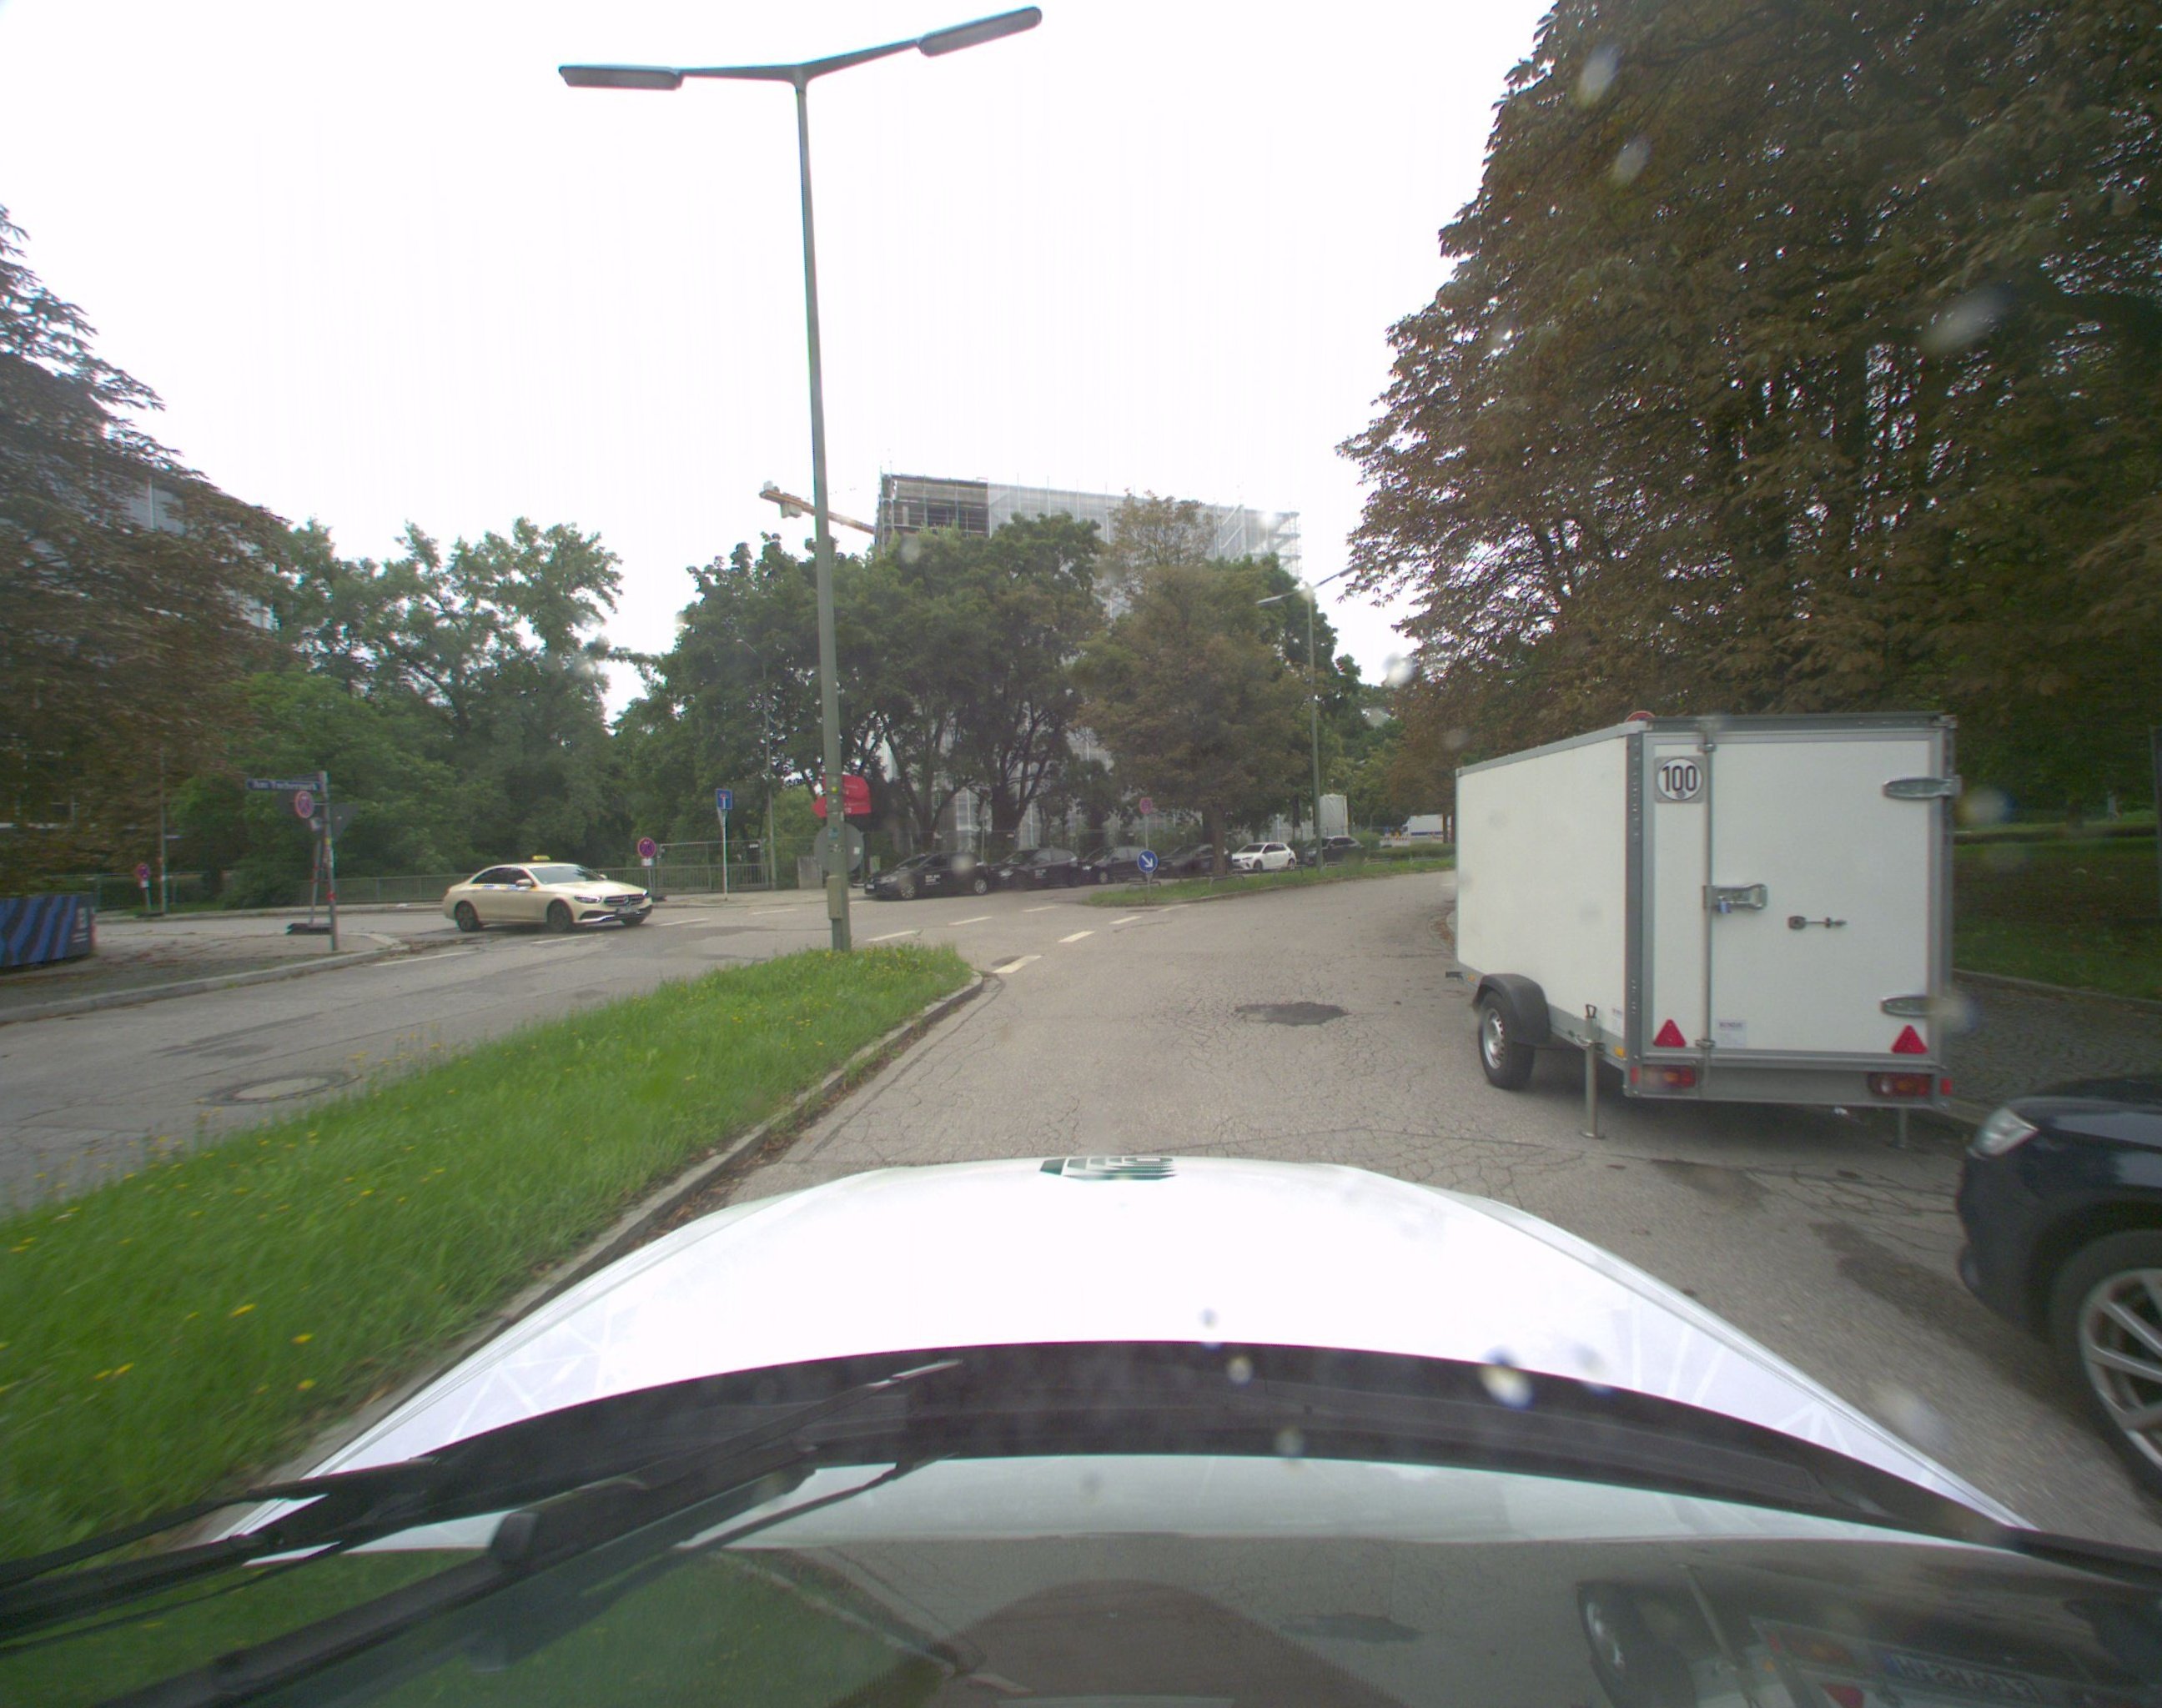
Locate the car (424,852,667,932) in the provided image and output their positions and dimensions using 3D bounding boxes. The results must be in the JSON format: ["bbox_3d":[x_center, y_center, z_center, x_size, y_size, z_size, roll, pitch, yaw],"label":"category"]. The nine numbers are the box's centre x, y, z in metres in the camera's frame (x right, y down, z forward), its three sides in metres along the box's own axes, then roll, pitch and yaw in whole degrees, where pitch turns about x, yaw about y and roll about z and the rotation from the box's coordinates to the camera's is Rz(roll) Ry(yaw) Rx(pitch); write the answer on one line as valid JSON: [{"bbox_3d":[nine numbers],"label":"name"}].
[{"bbox_3d":[-11.774,0.823,17.923,4.797,1.545,1.904,-2,1,20],"label":"car"}]

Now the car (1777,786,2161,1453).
[{"bbox_3d":[3.233,0.543,0.504,1.866,1.437,4.328,-3,1,0],"label":"car"}]

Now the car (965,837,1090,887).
[{"bbox_3d":[-1.822,0.252,28.545,4.023,1.541,1.975,-3,0,-44],"label":"car"}]

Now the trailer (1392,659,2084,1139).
[{"bbox_3d":[3.721,0.202,5.949,1.797,2.013,4.848,-2,0,11],"label":"trailer"}]

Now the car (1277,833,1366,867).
[{"bbox_3d":[12.198,-0.217,41.163,4.412,1.606,1.872,-1,-1,-33],"label":"car"}]

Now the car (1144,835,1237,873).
[{"bbox_3d":[4.783,-0.010,35.344,4.029,1.460,1.818,-2,0,-44],"label":"car"}]

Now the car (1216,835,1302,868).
[{"bbox_3d":[8.483,-0.124,38.623,4.241,1.383,1.780,-2,0,-41],"label":"car"}]

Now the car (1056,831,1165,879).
[{"bbox_3d":[1.208,0.031,31.976,4.023,1.706,1.975,-2,0,-44],"label":"car"}]

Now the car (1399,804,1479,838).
[{"bbox_3d":[41.195,-3.736,94.028,3.097,3.448,8.656,-2,0,-22],"label":"car"}]

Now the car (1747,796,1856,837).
[{"bbox_3d":[34.919,-1.808,39.509,4.118,1.749,1.990,-3,1,-15],"label":"car"}]

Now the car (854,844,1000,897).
[{"bbox_3d":[-4.793,0.447,25.620,4.066,1.432,1.976,-3,2,-43],"label":"car"}]
